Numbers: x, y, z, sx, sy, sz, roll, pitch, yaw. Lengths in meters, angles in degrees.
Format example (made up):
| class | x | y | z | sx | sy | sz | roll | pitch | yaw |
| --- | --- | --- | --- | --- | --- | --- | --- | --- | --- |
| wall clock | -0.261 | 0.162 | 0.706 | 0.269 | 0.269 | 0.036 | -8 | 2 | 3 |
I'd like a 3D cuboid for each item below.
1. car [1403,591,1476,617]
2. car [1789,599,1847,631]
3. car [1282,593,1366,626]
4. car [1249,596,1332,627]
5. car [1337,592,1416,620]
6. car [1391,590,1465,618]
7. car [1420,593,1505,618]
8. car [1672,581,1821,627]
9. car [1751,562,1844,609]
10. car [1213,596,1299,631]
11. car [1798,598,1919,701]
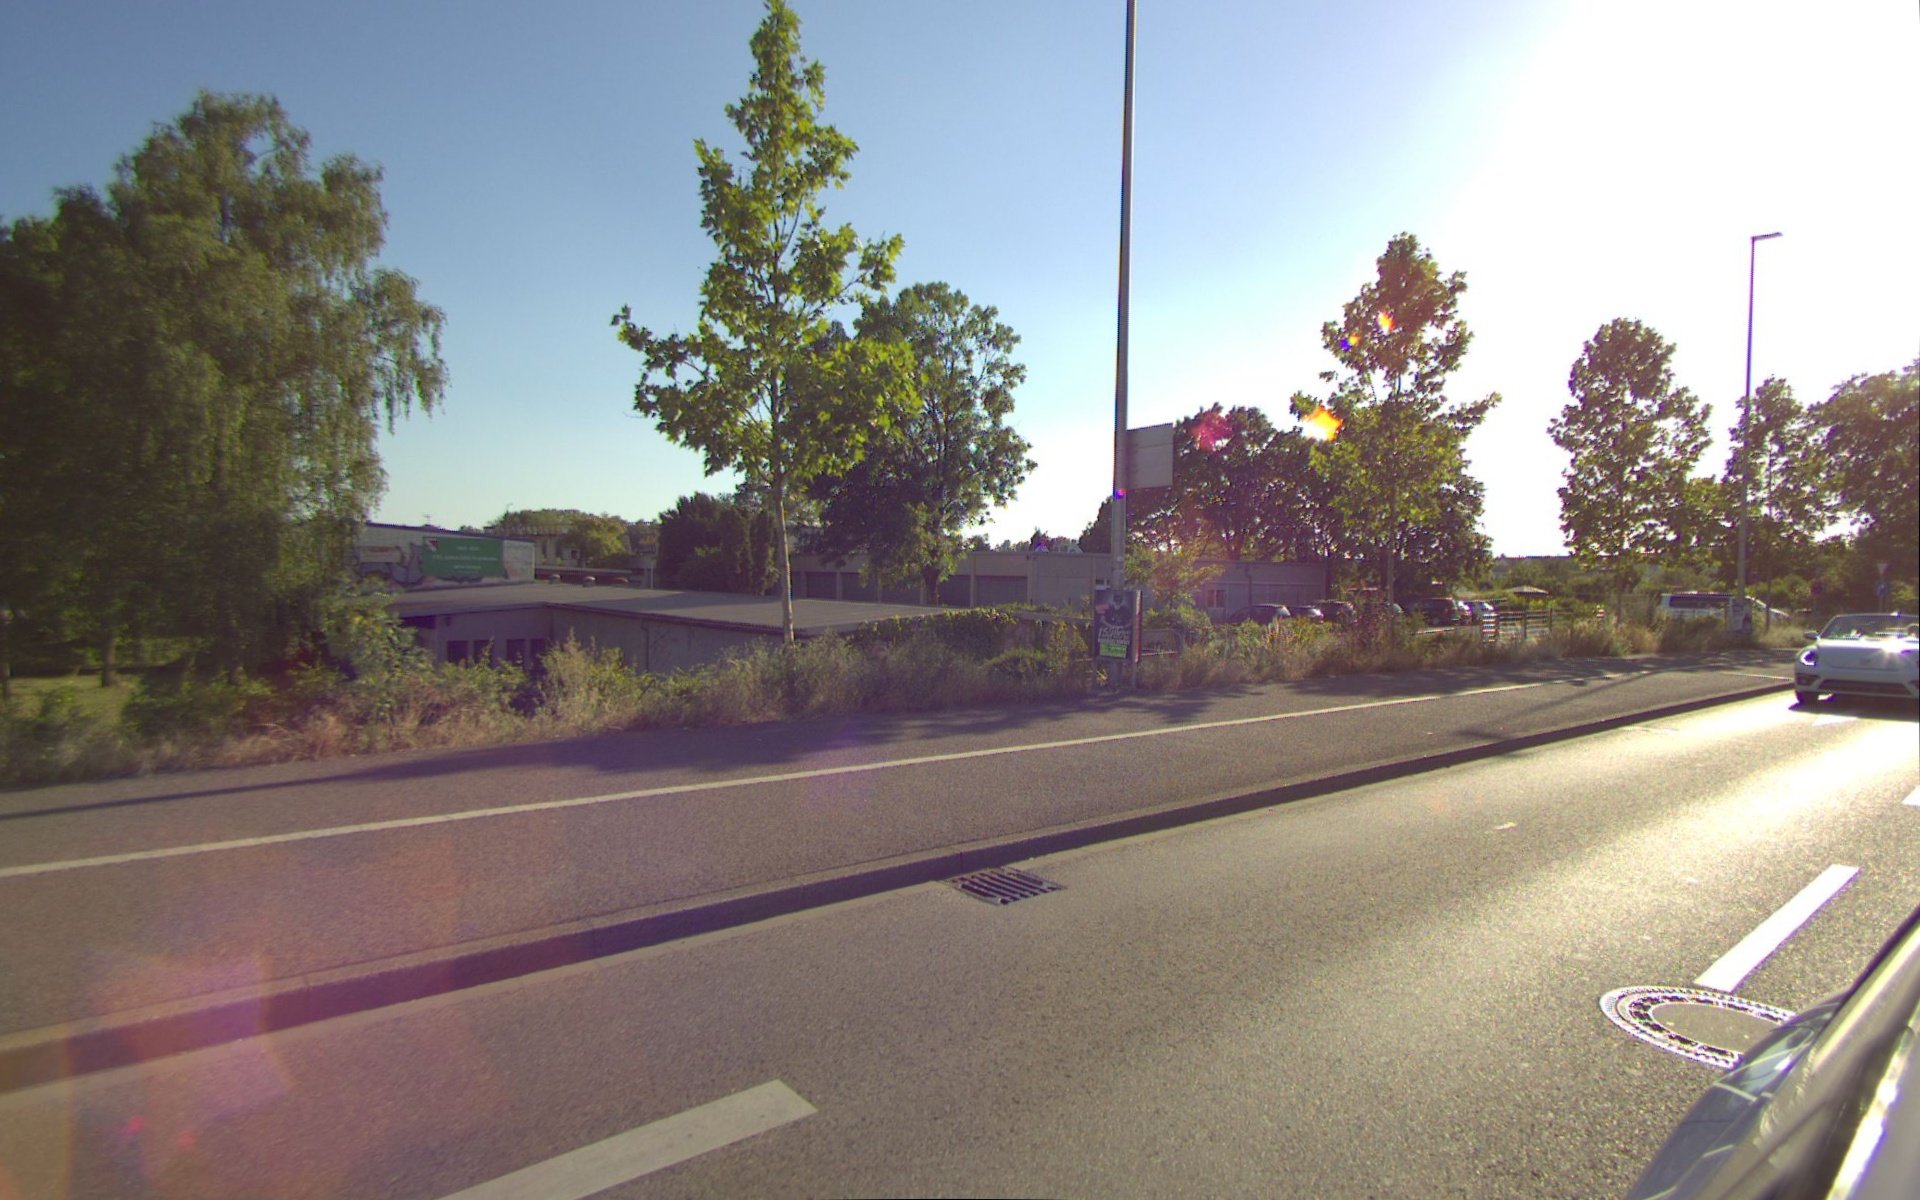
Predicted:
| class | x | y | z | sx | sy | sz | roll | pitch | yaw |
| --- | --- | --- | --- | --- | --- | --- | --- | --- | --- |
| car | 30.449 | 0.291 | 64.375 | 1.692 | 1.606 | 3.834 | 1 | -1 | -41 |
| car | 47.291 | 0.796 | 55.757 | 4.086 | 1.668 | 1.996 | 1 | 1 | -43 |
| car | 19.439 | 0.485 | 54.171 | 1.677 | 1.687 | 3.913 | -1 | 0 | -42 |
| car | 17.125 | 0.576 | 52.557 | 1.711 | 1.413 | 3.785 | -3 | 3 | -44 |
| car | 24.748 | 0.365 | 60.239 | 1.657 | 1.606 | 4.024 | 1 | -1 | -43 |
| car | 29.020 | 0.269 | 62.814 | 1.635 | 1.661 | 3.870 | 1 | -1 | -41 |
| car | 32.841 | 0.367 | 66.205 | 1.827 | 1.589 | 4.654 | 1 | -1 | -42 |
| car | 37.471 | 0.215 | 48.354 | 2.067 | 2.048 | 5.344 | 1 | -1 | -41 |
| car | 50.623 | -0.861 | 61.152 | 5.811 | 2.655 | 2.942 | 1 | 1 | -36 |
| car | 14.833 | 0.627 | 50.821 | 1.700 | 1.575 | 3.786 | -3 | 3 | -43 |
| car | 14.845 | 0.723 | 15.941 | 3.909 | 1.441 | 1.856 | 1 | 0 | -40 |
